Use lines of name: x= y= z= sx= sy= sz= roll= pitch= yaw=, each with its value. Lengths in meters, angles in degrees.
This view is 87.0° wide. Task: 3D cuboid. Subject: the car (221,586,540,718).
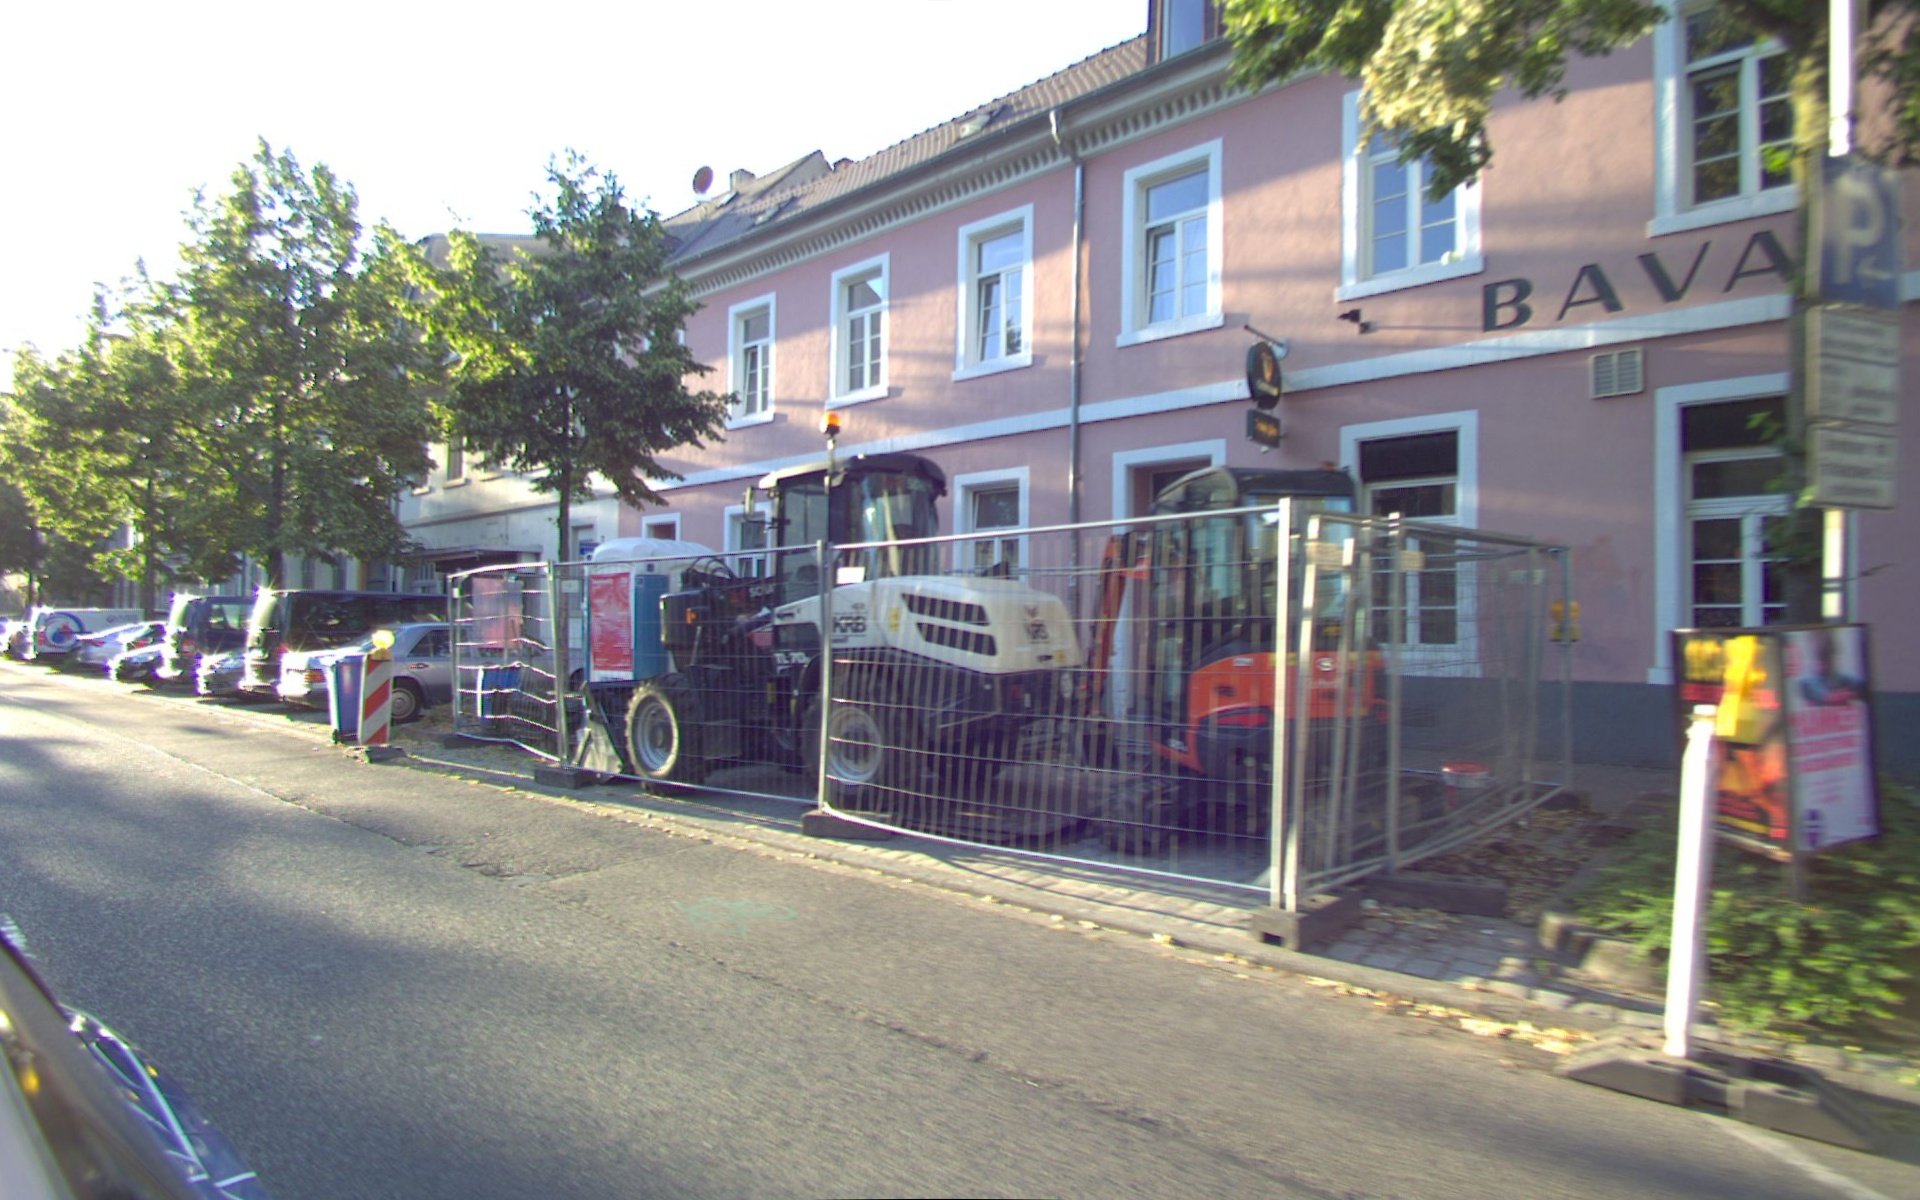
car: x=-9.946 y=0.817 z=17.671 sx=1.963 sy=1.991 sz=4.439 roll=-2 pitch=-1 yaw=39

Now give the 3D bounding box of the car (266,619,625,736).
car: x=-7.694 y=1.057 z=15.472 sx=1.893 sy=1.481 sz=4.543 roll=-2 pitch=-2 yaw=43

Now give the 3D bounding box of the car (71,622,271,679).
car: x=-23.095 y=1.437 z=29.751 sx=1.733 sy=1.496 sz=4.429 roll=-2 pitch=-2 yaw=43

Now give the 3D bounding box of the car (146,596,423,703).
car: x=-13.963 y=0.965 z=21.127 sx=2.067 sy=1.991 sz=4.436 roll=-2 pitch=-2 yaw=41

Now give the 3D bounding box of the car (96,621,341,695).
car: x=-17.216 y=1.288 z=23.688 sx=1.838 sy=1.512 sz=4.288 roll=-2 pitch=-1 yaw=36

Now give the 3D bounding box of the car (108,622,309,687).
car: x=-19.244 y=1.342 z=26.019 sx=1.905 sy=1.512 sz=3.880 roll=-2 pitch=-2 yaw=43

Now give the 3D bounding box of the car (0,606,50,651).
car: x=-57.540 y=1.724 z=59.652 sx=2.170 sy=2.641 sz=5.600 roll=-2 pitch=-1 yaw=41

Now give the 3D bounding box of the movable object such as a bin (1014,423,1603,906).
movable object such as a bin: x=2.029 y=0.404 z=8.254 sx=2.278 sy=2.514 sz=5.762 roll=0 pitch=-2 yaw=-6

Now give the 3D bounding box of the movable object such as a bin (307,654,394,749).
movable object such as a bin: x=-7.552 y=1.229 z=12.531 sx=0.883 sy=1.113 sz=0.682 roll=-2 pitch=-3 yaw=43

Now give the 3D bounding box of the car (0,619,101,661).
car: x=-41.718 y=1.799 z=45.804 sx=1.806 sy=1.820 sz=4.093 roll=-2 pitch=-2 yaw=42

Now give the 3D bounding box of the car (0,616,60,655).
car: x=-49.717 y=1.836 z=52.456 sx=1.919 sy=1.968 sz=4.451 roll=-2 pitch=-2 yaw=43

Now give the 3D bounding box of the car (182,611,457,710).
car: x=-12.052 y=1.053 z=19.247 sx=1.859 sy=1.649 sz=4.086 roll=-2 pitch=-1 yaw=41

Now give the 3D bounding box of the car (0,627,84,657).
car: x=-47.138 y=2.118 z=51.216 sx=1.593 sy=1.450 sz=4.107 roll=-2 pitch=-2 yaw=42

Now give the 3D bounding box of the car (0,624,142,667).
car: x=-33.133 y=1.665 z=37.571 sx=1.962 sy=1.495 sz=3.996 roll=-2 pitch=-2 yaw=40

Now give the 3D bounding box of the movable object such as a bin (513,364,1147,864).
movable object such as a bin: x=-1.360 y=0.144 z=8.783 sx=5.300 sy=2.991 sz=2.597 roll=-1 pitch=-2 yaw=41

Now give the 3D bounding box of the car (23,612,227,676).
car: x=-26.878 y=1.393 z=32.719 sx=1.972 sy=1.922 sz=4.820 roll=-2 pitch=-2 yaw=41
